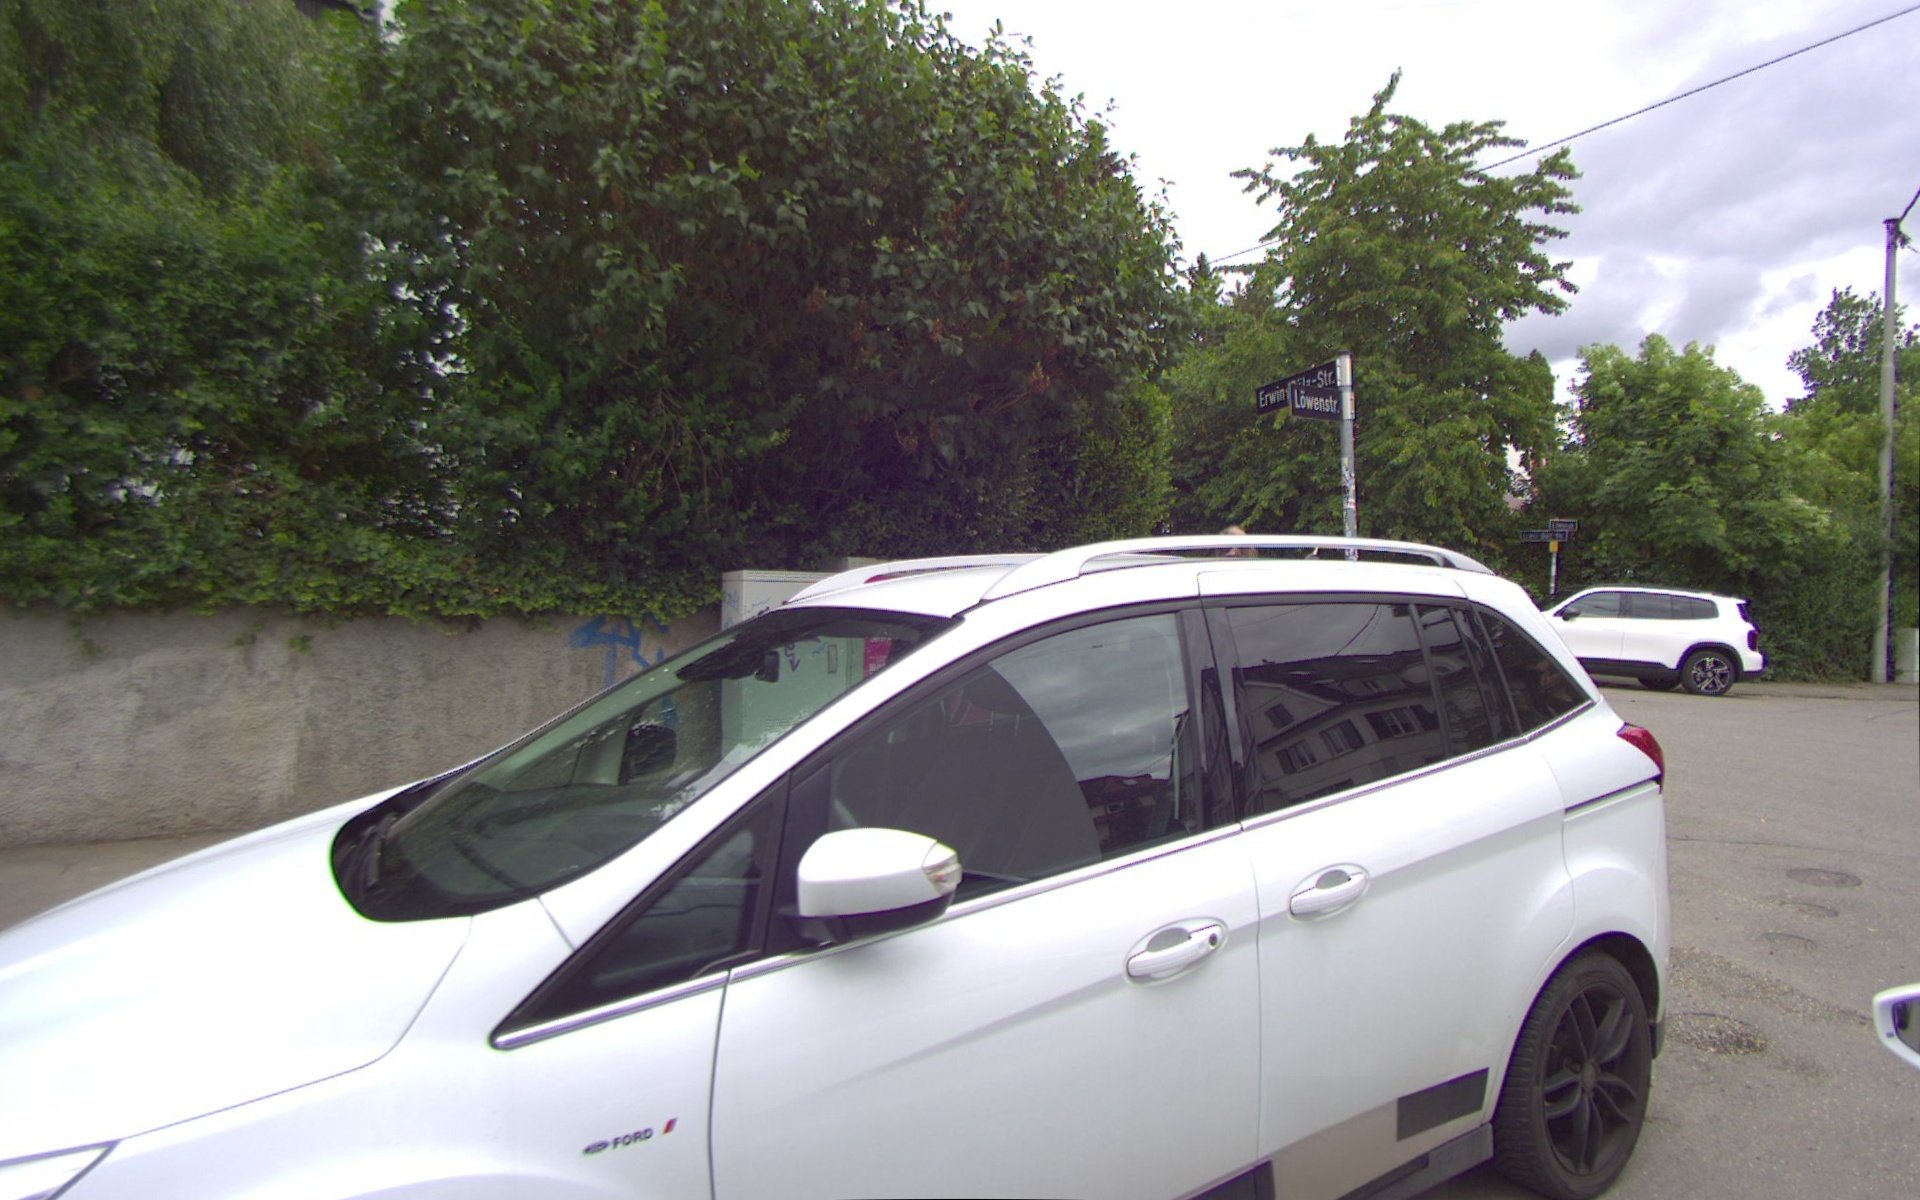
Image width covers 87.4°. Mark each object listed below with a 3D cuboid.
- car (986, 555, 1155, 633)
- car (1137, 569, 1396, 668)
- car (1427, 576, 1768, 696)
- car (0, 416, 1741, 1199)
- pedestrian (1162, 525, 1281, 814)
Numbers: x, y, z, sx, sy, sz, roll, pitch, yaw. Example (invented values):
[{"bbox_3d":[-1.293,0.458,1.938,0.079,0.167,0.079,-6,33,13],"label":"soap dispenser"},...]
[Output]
[{"bbox_3d":[2.517,-0.181,23.526,1.621,1.456,3.740,1,5,-42],"label":"car"},{"bbox_3d":[5.885,0.275,19.681,4.451,1.456,1.823,7,5,44],"label":"car"},{"bbox_3d":[10.558,0.527,17.016,4.423,1.678,1.835,3,2,13],"label":"car"},{"bbox_3d":[0.023,0.676,2.598,4.103,1.681,1.795,0,0,-31],"label":"car"},{"bbox_3d":[1.714,0.421,6.696,0.631,1.783,0.823,2,2,9],"label":"pedestrian"}]
